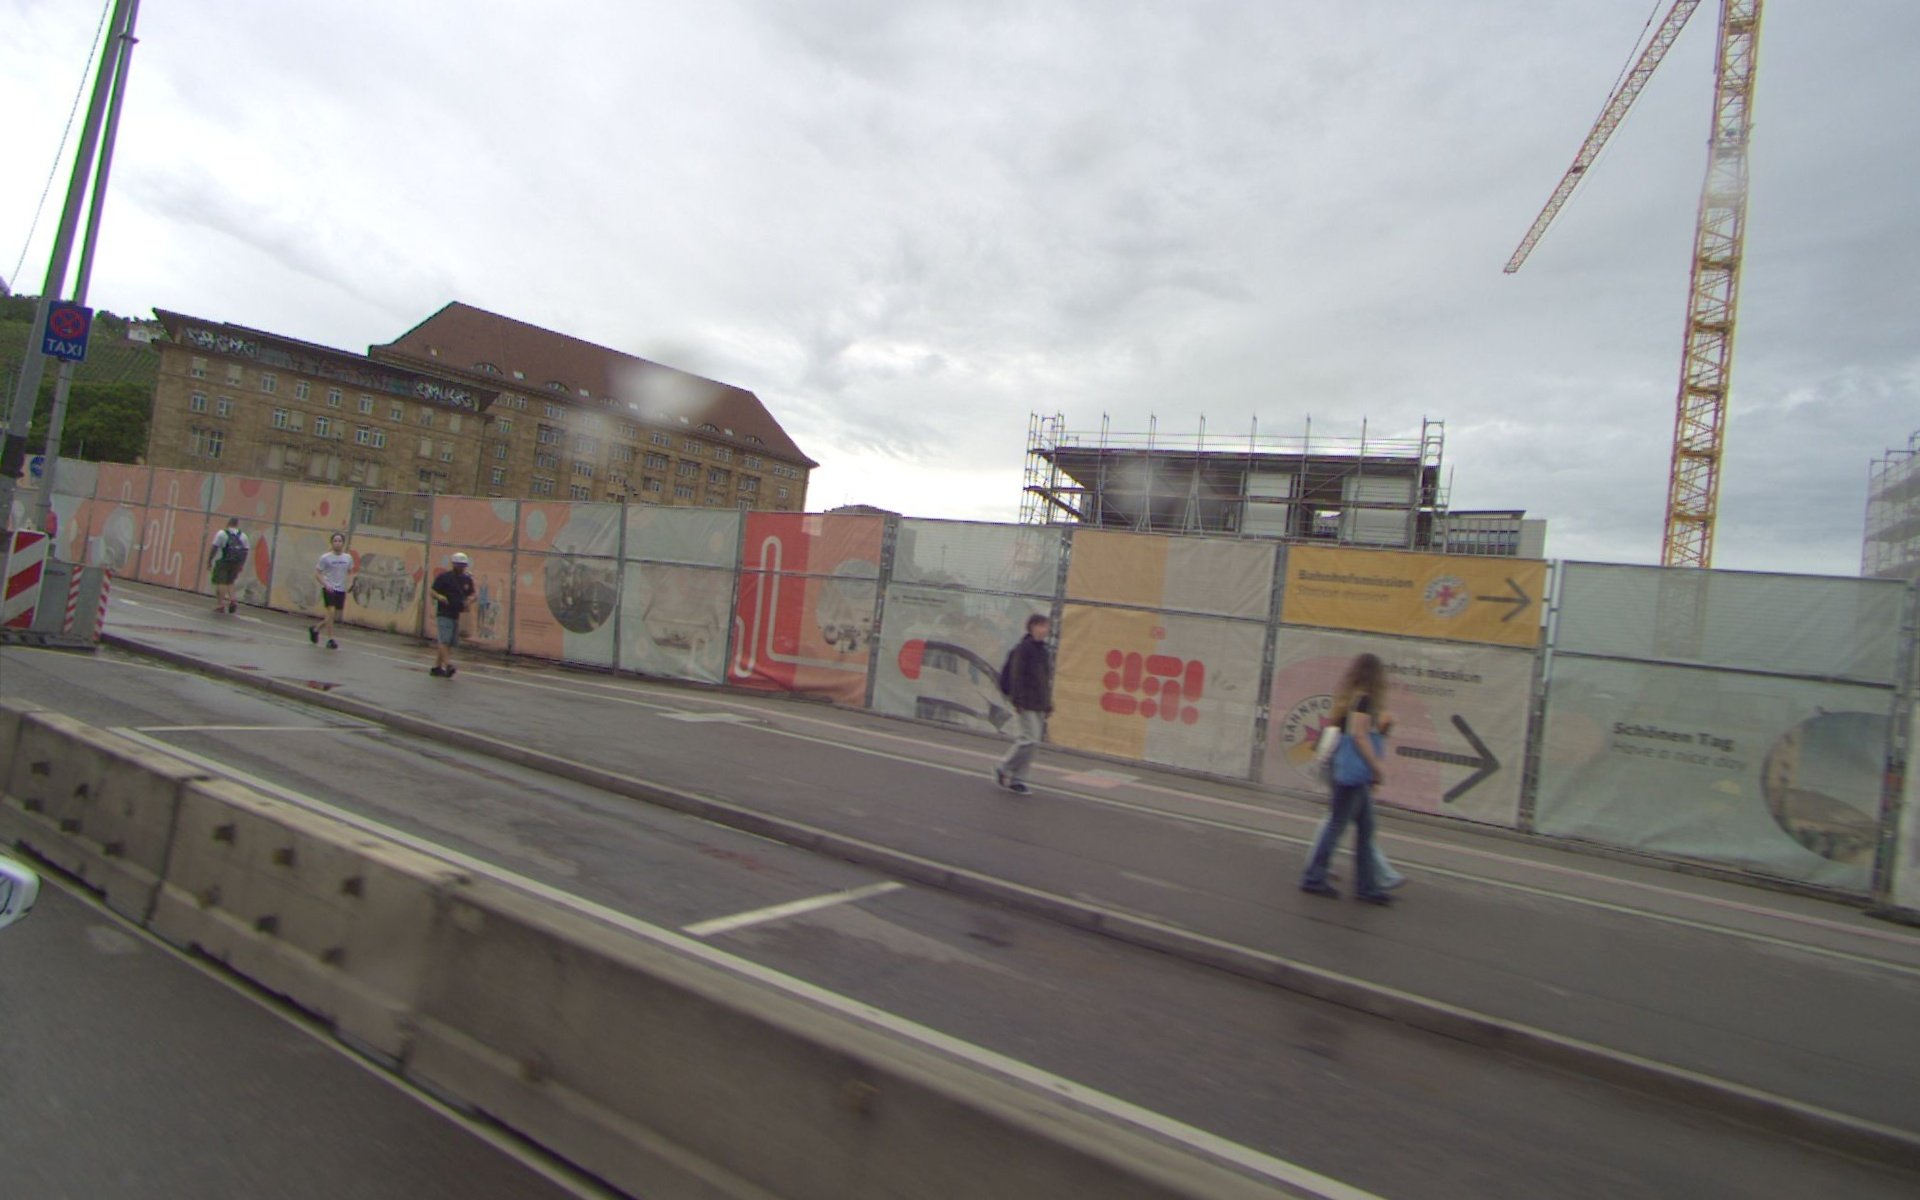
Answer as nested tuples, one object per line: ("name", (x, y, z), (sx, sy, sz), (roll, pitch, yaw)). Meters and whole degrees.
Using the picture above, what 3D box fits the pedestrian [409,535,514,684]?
("pedestrian", (-6.365, 0.125, 12.851), (0.823, 1.760, 0.644), (7, -1, 29))

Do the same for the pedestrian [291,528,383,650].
("pedestrian", (-9.779, -0.169, 15.799), (0.892, 1.760, 0.685), (7, -1, 29))

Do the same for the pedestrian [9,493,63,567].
("pedestrian", (-25.541, -1.927, 27.818), (0.697, 1.887, 0.721), (7, -1, 29))

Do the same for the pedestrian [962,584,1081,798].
("pedestrian", (0.606, 0.865, 9.683), (0.681, 1.910, 0.685), (7, -1, 28))

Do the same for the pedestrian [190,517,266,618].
("pedestrian", (-14.766, -0.654, 20.300), (0.973, 1.887, 0.705), (7, -1, 31))

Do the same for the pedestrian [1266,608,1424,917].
("pedestrian", (2.647, 1.075, 6.896), (0.682, 1.910, 0.685), (7, -1, 32))

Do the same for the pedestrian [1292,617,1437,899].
("pedestrian", (3.026, 1.144, 7.506), (0.682, 1.910, 0.685), (7, -1, 32))
